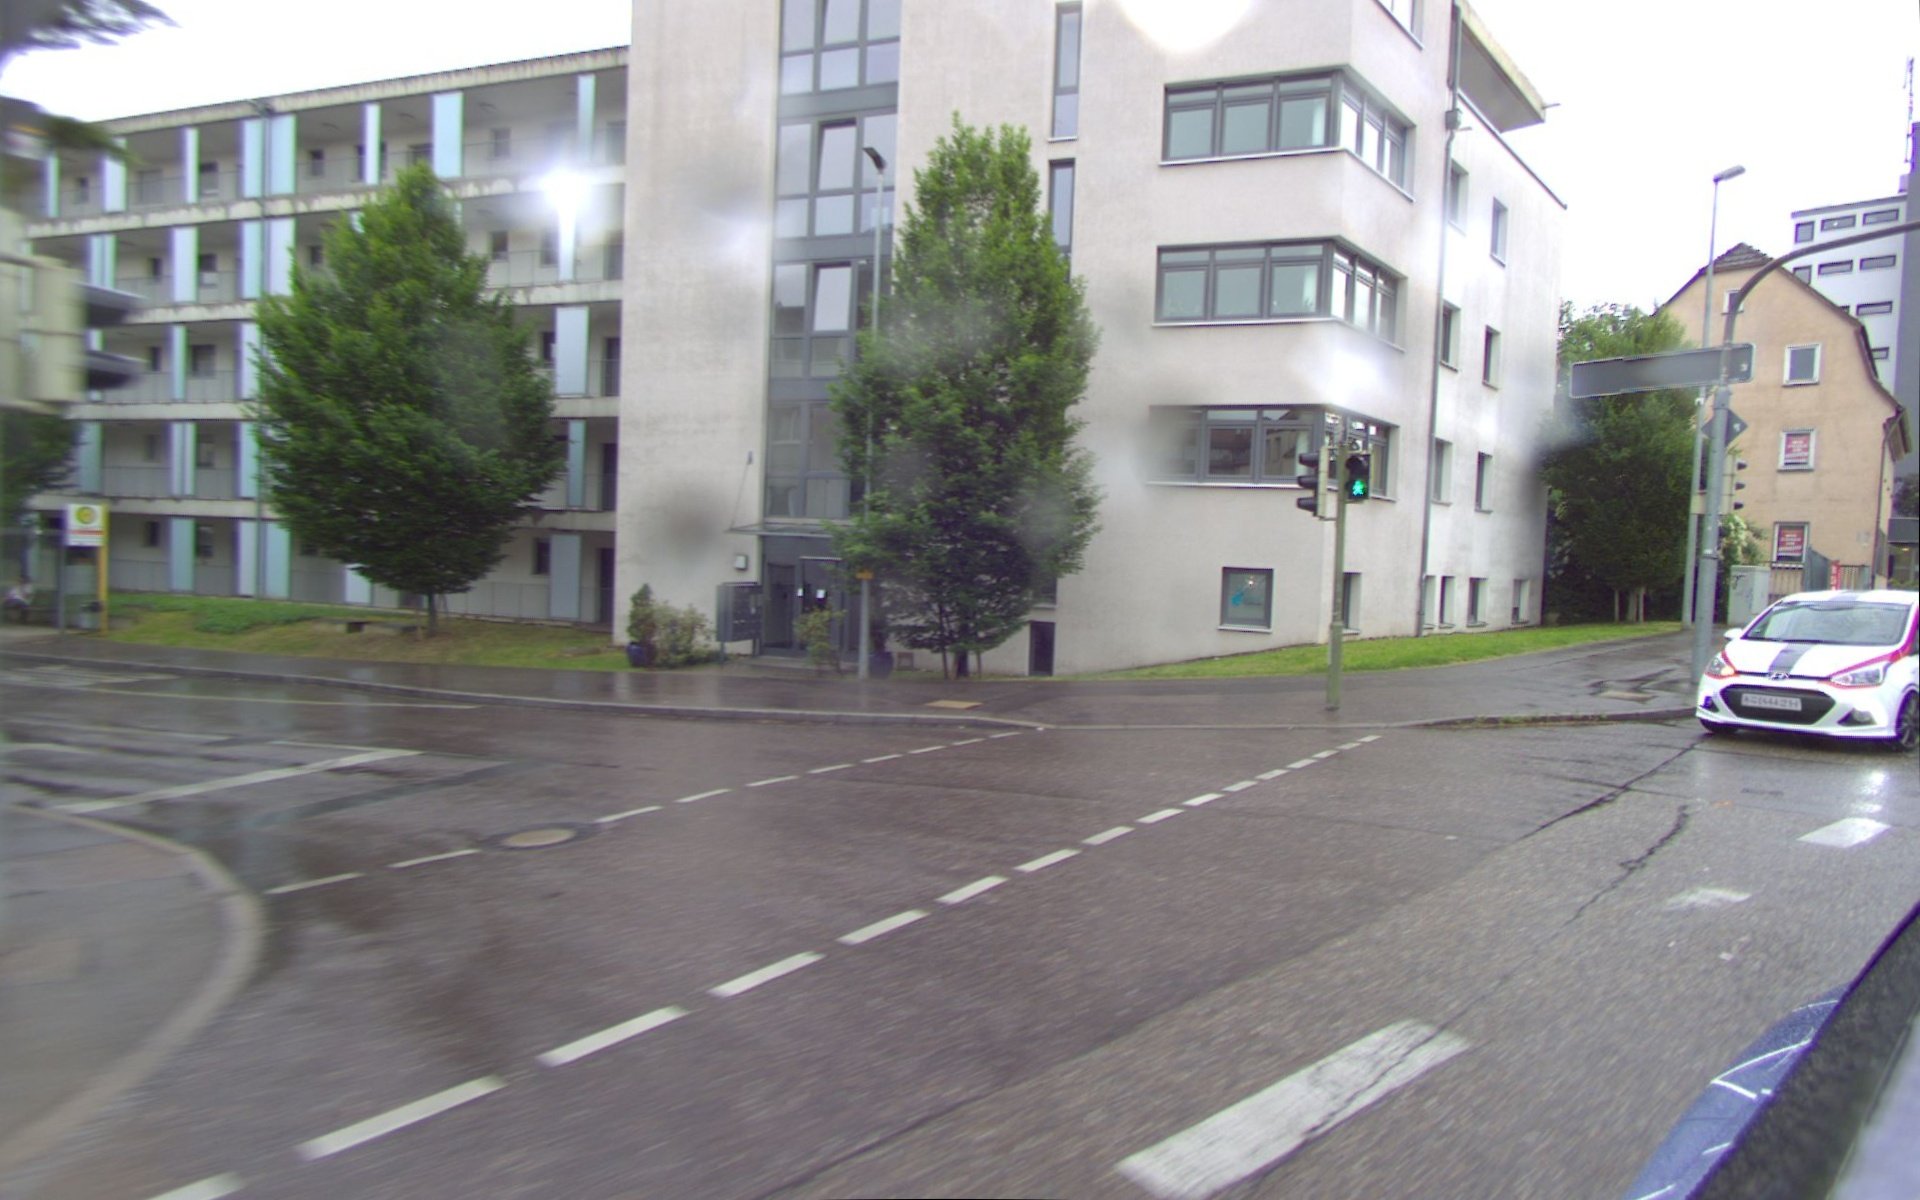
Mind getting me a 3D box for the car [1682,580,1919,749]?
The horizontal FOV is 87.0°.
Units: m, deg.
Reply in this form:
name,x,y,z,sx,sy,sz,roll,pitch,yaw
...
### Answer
name,x,y,z,sx,sy,sz,roll,pitch,yaw
car,9.530,0.546,10.678,3.688,1.471,1.714,-1,1,-29
